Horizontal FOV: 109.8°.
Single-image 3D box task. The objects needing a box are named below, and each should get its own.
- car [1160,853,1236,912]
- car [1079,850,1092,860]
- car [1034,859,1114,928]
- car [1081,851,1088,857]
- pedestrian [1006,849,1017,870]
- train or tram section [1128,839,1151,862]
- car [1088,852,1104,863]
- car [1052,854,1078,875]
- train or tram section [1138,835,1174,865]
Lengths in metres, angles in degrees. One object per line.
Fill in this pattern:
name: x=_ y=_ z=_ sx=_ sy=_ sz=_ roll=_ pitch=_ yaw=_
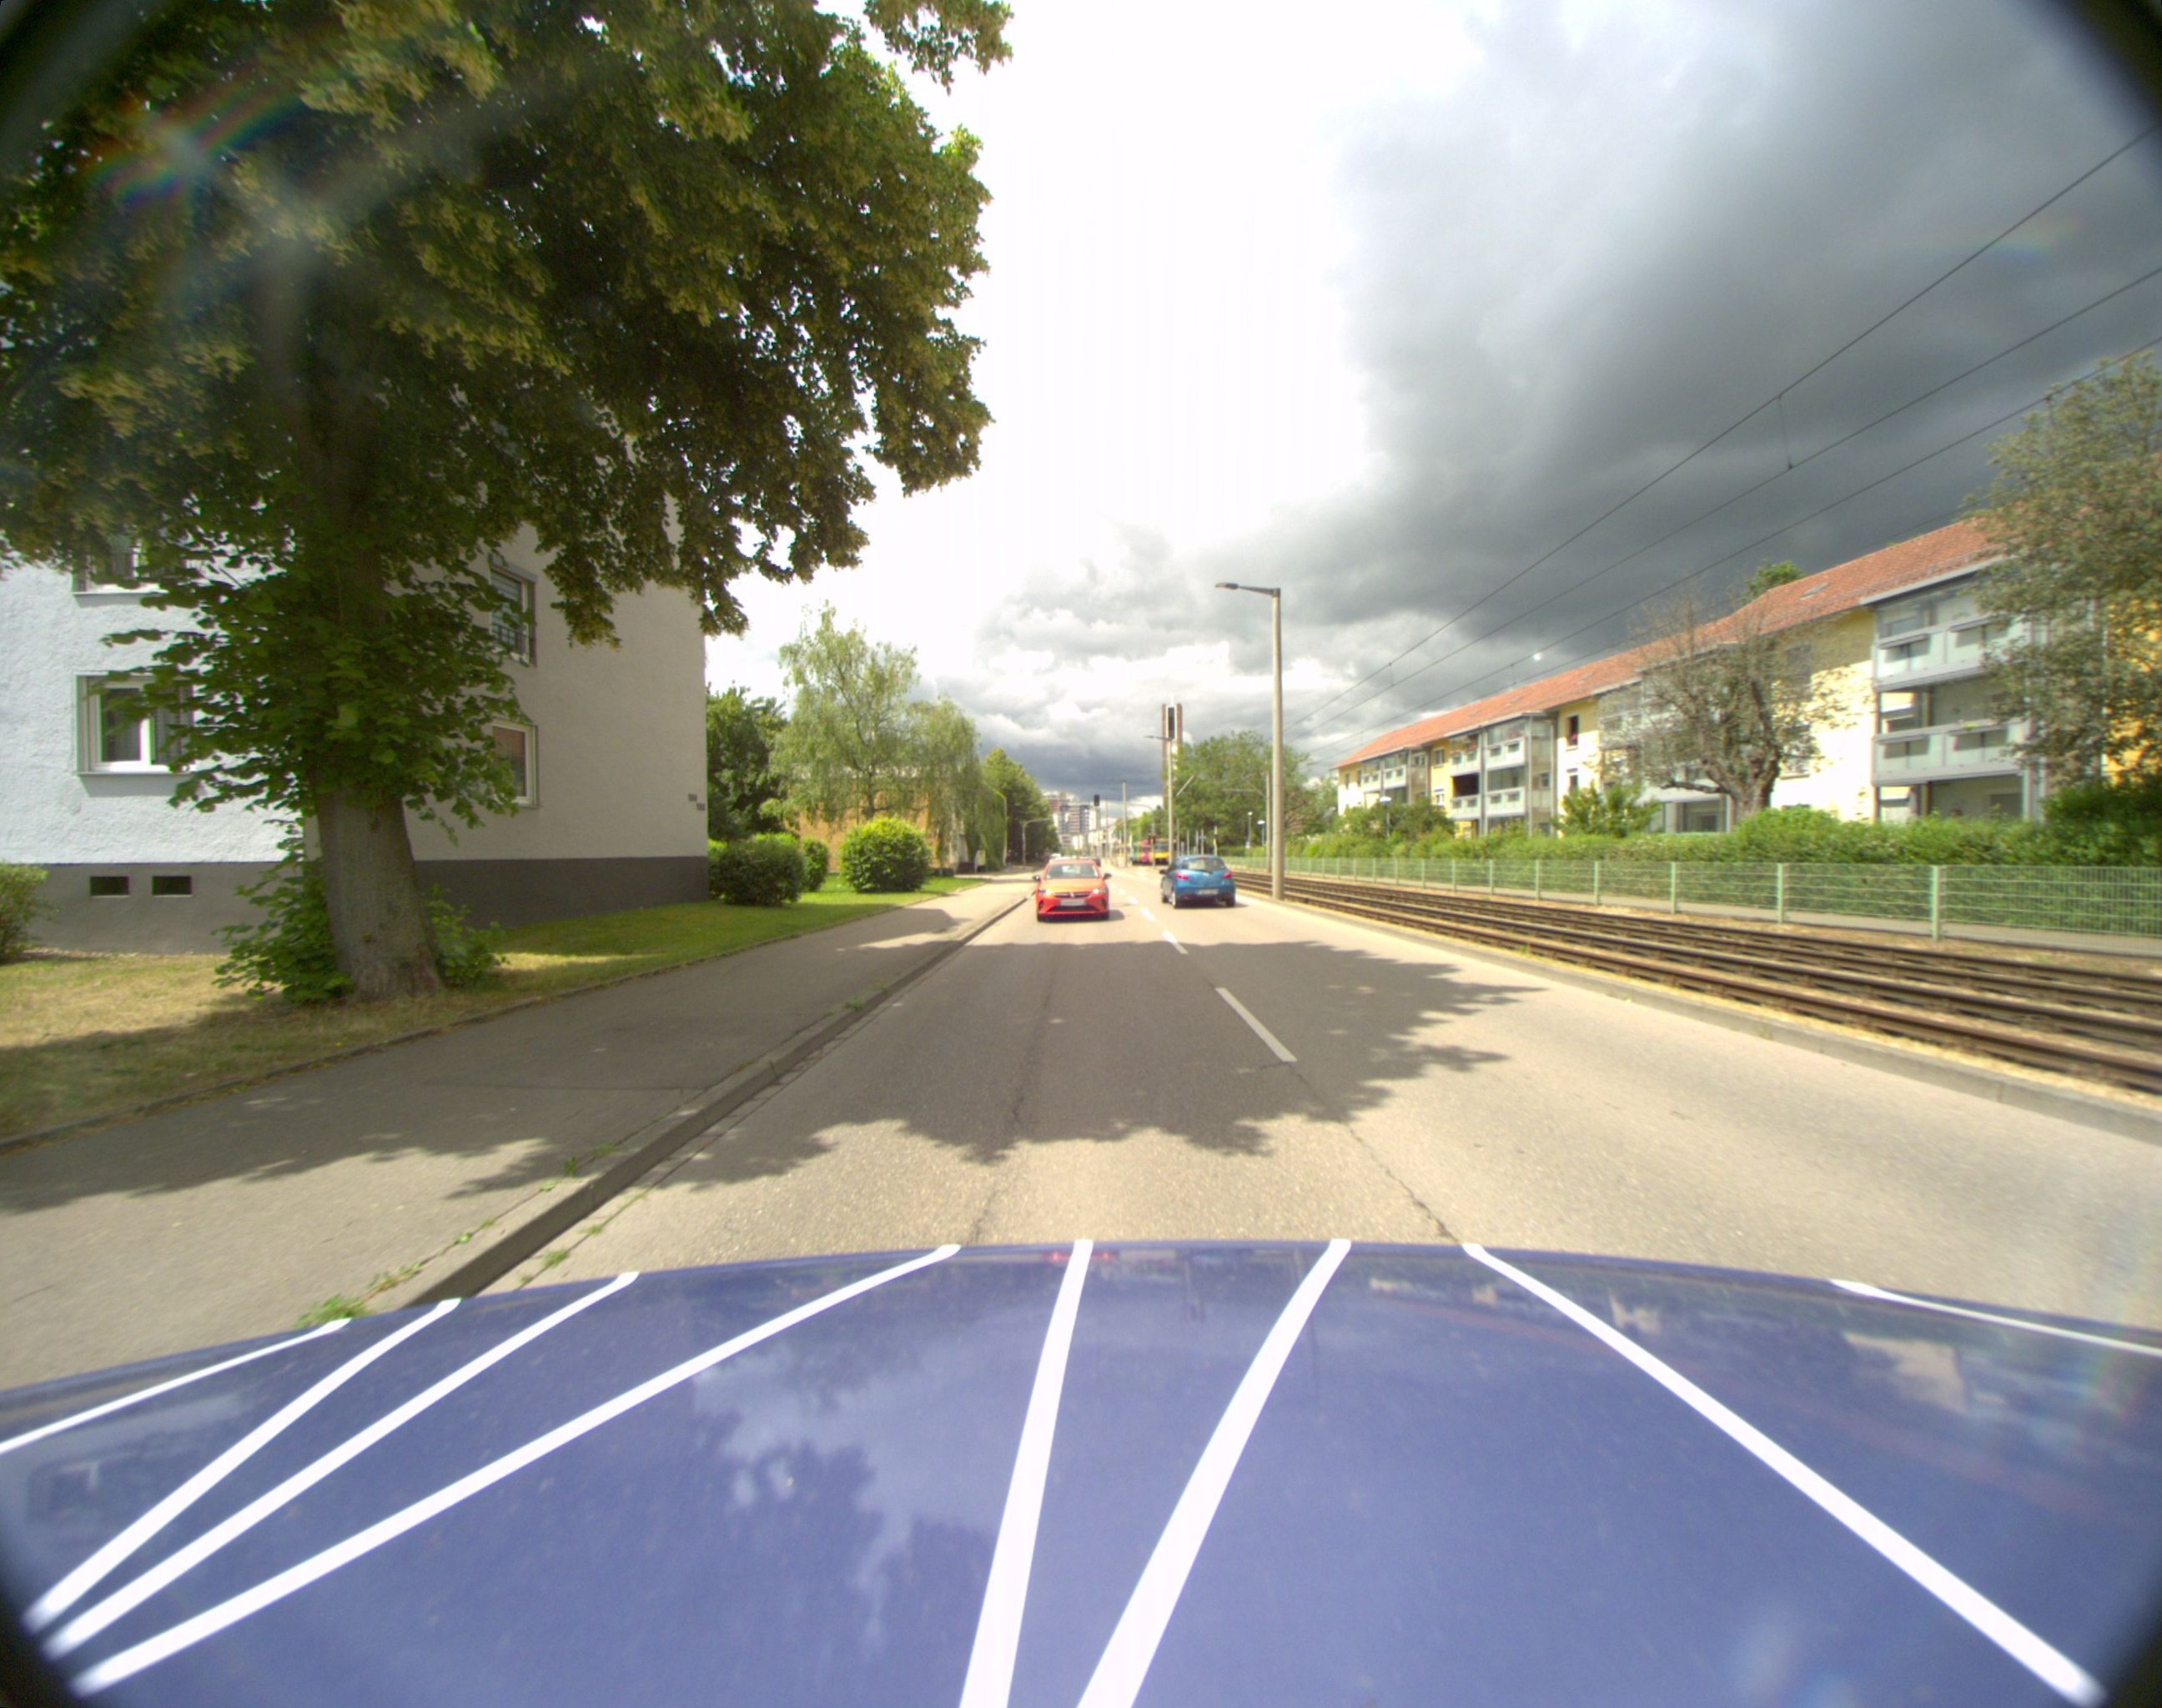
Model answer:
car: x=3.272 y=0.745 z=21.796 sx=1.628 sy=1.516 sz=3.581 roll=-1 pitch=0 yaw=0
car: x=0.764 y=0.155 z=118.782 sx=1.765 sy=1.543 sz=3.999 roll=-2 pitch=0 yaw=-3
car: x=-0.127 y=0.905 z=19.213 sx=1.756 sy=1.433 sz=4.226 roll=-1 pitch=1 yaw=1
car: x=0.885 y=-0.084 z=187.354 sx=1.722 sy=1.433 sz=4.008 roll=-1 pitch=1 yaw=-1
pedestrian: x=-6.136 y=0.475 z=67.304 sx=0.811 sy=1.761 sz=0.817 roll=2 pitch=1 yaw=5
train or tram section: x=10.419 y=-0.611 z=136.270 sx=2.988 sy=3.840 sz=11.784 roll=-2 pitch=0 yaw=-1
car: x=1.880 y=0.445 z=97.345 sx=1.633 sy=1.424 sz=4.166 roll=-2 pitch=0 yaw=-3
car: x=-1.133 y=0.755 z=55.460 sx=1.756 sy=1.433 sz=4.226 roll=-1 pitch=1 yaw=1
train or tram section: x=10.726 y=-0.587 z=111.026 sx=2.988 sy=3.840 sz=18.535 roll=-2 pitch=0 yaw=-1
